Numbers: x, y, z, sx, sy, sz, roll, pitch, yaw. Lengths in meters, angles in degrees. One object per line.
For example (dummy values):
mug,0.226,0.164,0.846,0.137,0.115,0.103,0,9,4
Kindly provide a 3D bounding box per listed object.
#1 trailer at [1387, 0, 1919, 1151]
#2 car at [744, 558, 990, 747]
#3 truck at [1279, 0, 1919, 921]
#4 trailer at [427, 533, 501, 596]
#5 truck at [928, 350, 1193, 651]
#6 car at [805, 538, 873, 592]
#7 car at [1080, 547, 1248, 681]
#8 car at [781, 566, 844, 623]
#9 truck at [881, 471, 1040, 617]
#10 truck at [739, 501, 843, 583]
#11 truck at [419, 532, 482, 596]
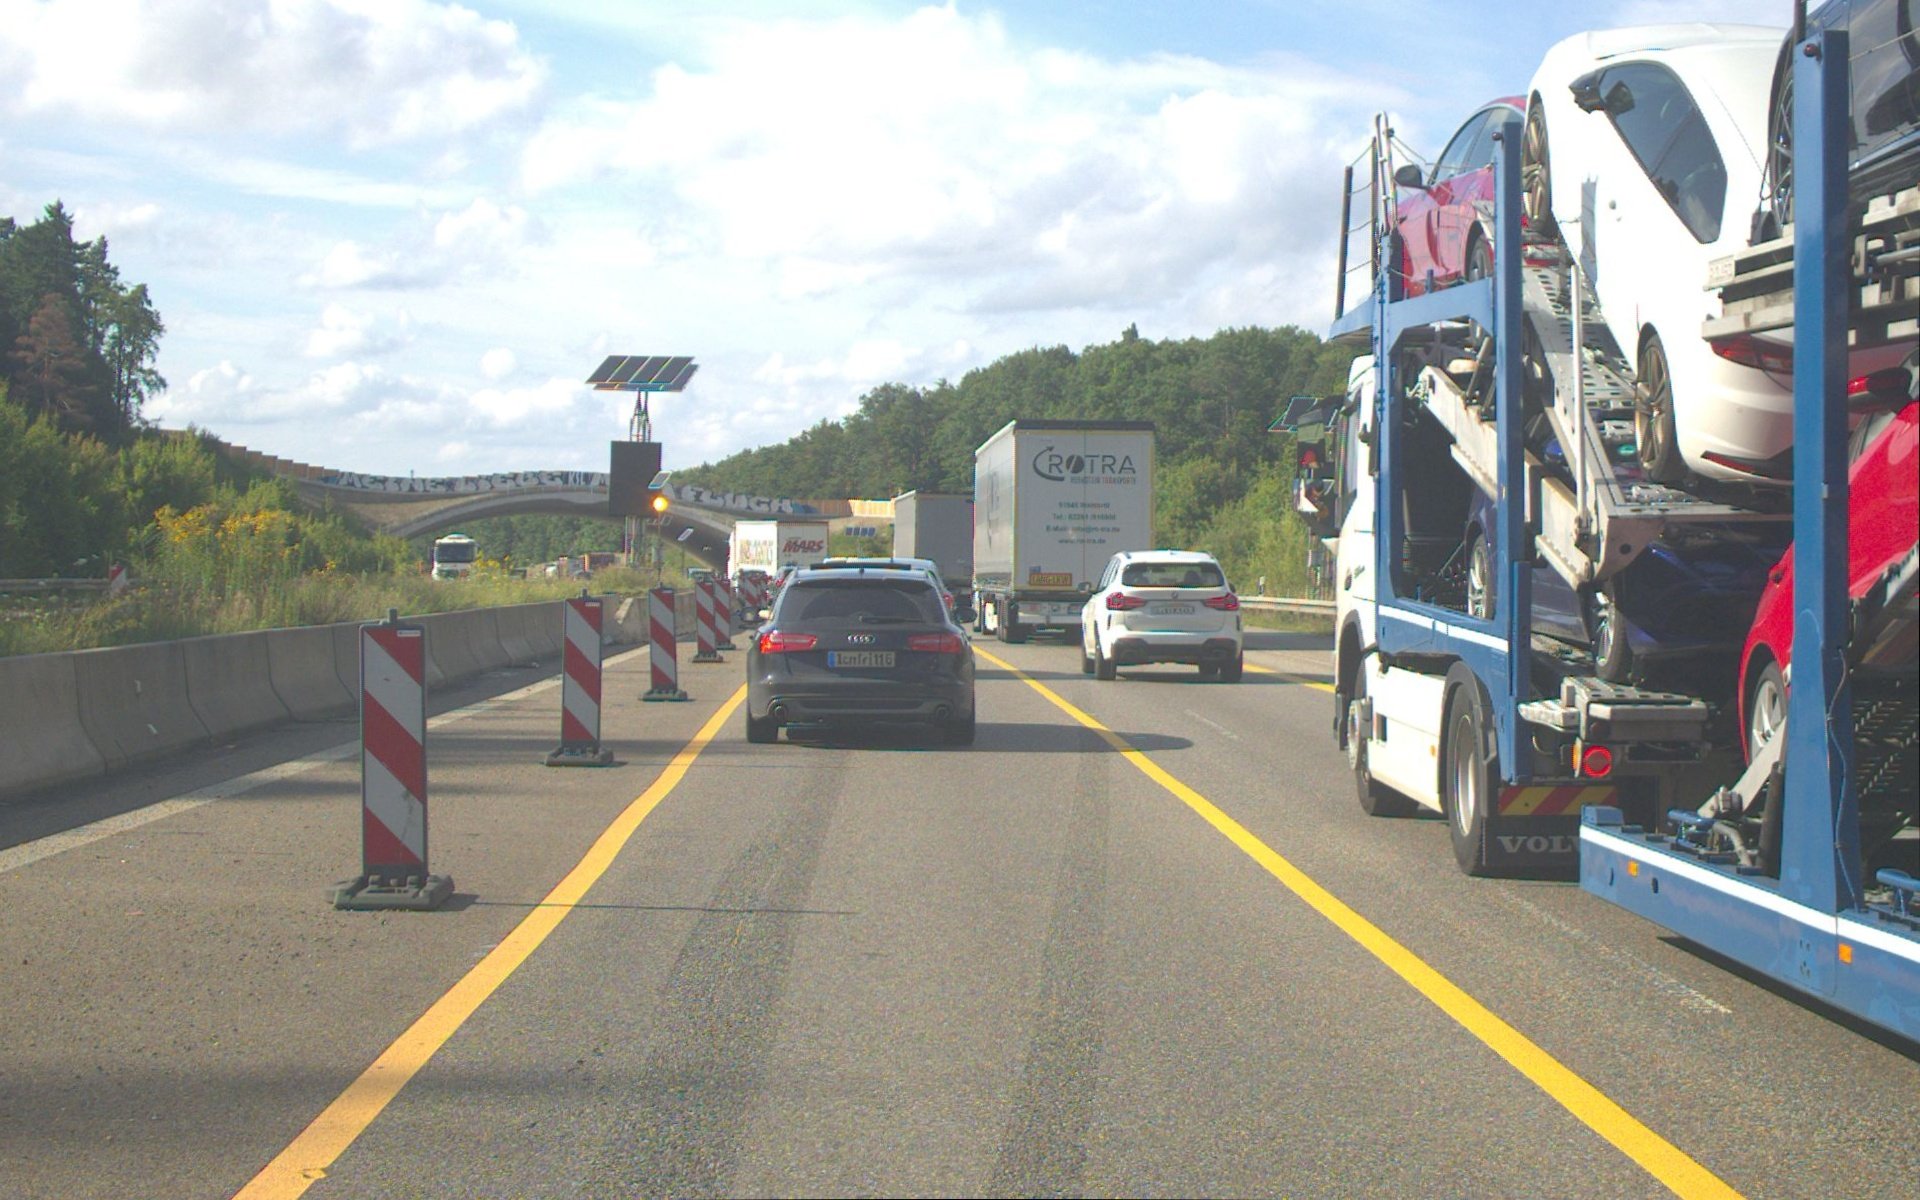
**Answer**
trailer,4.307,-0.671,9.311,3.726,4.182,16.228,1,0,-2
car,-0.749,0.394,28.744,1.890,1.441,4.000,1,0,-1
truck,4.061,-0.831,17.739,3.761,4.182,7.951,1,0,-2
trailer,-28.603,-2.039,198.545,2.802,3.478,11.113,1,0,-1
truck,1.723,-1.842,69.614,3.677,5.335,16.203,1,0,-4
car,-3.813,-1.085,107.899,1.890,1.638,4.018,1,0,-5
car,2.625,0.161,45.126,1.890,1.638,4.018,1,0,-1
car,-5.375,-0.227,124.772,1.993,2.007,4.001,1,0,-6
truck,-0.096,-1.819,115.274,4.318,4.585,11.126,1,0,-5
truck,-8.546,-2.845,172.183,3.653,3.915,11.070,1,0,-11
truck,-28.503,-2.008,192.497,2.785,3.478,4.939,1,0,-1
